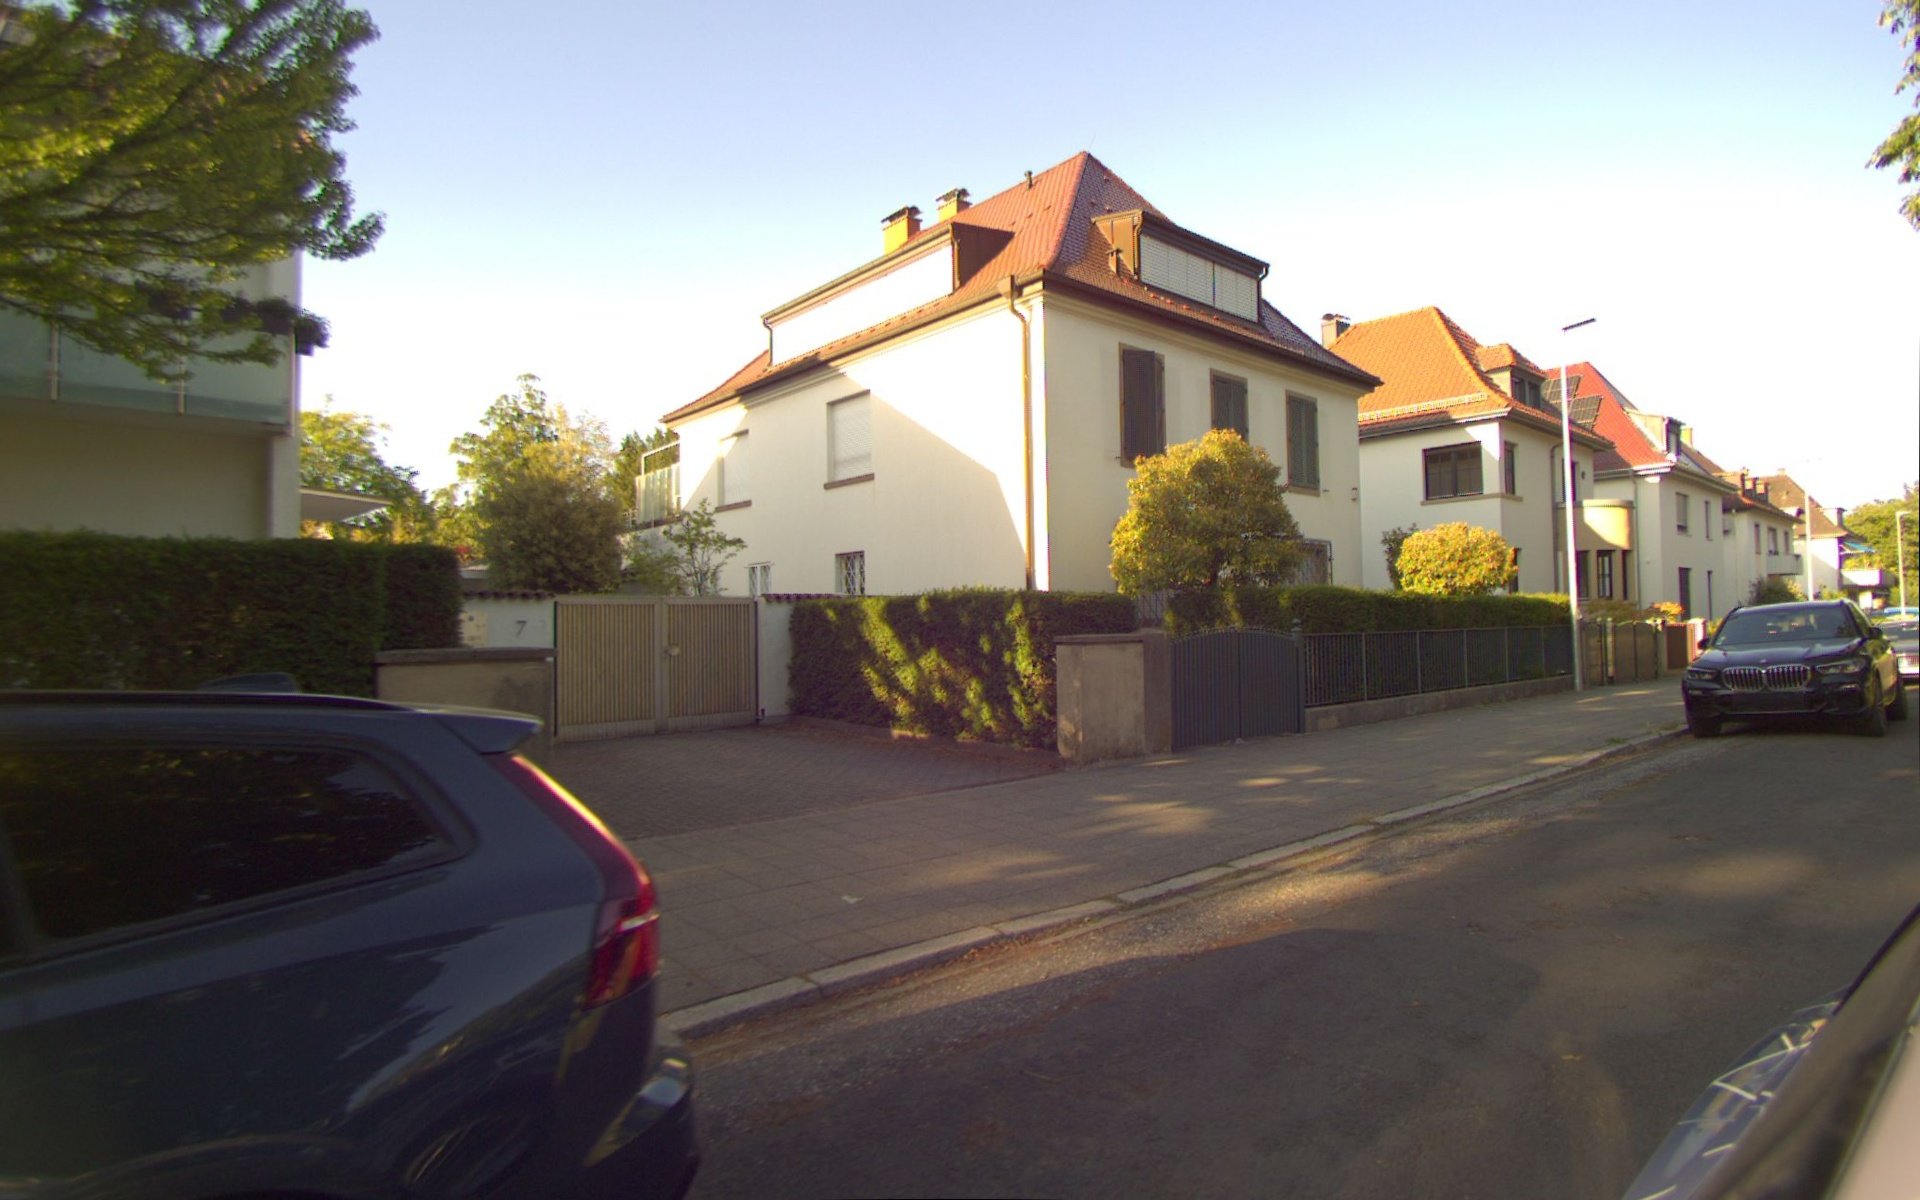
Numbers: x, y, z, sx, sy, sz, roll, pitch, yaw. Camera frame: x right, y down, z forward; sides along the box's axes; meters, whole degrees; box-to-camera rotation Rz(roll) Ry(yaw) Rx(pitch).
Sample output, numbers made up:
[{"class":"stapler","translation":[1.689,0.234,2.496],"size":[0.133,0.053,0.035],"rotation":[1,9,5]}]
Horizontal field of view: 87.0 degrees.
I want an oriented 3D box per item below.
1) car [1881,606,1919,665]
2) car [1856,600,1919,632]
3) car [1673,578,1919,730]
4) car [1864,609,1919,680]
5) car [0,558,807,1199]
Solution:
[{"class":"car","translation":[26.613,0.892,27.463],"size":[4.474,1.483,1.994],"rotation":[1,-5,-44]},{"class":"car","translation":[58.922,1.033,63.456],"size":[1.967,1.953,3.988],"rotation":[1,-2,-44]},{"class":"car","translation":[11.790,0.700,14.081],"size":[4.781,1.760,1.995],"rotation":[0,-5,-43]},{"class":"car","translation":[22.170,0.954,23.049],"size":[4.514,1.482,1.781],"rotation":[1,-5,-42]},{"class":"car","translation":[-2.601,0.737,1.119],"size":[4.594,1.511,1.795],"rotation":[0,-2,-42]}]
